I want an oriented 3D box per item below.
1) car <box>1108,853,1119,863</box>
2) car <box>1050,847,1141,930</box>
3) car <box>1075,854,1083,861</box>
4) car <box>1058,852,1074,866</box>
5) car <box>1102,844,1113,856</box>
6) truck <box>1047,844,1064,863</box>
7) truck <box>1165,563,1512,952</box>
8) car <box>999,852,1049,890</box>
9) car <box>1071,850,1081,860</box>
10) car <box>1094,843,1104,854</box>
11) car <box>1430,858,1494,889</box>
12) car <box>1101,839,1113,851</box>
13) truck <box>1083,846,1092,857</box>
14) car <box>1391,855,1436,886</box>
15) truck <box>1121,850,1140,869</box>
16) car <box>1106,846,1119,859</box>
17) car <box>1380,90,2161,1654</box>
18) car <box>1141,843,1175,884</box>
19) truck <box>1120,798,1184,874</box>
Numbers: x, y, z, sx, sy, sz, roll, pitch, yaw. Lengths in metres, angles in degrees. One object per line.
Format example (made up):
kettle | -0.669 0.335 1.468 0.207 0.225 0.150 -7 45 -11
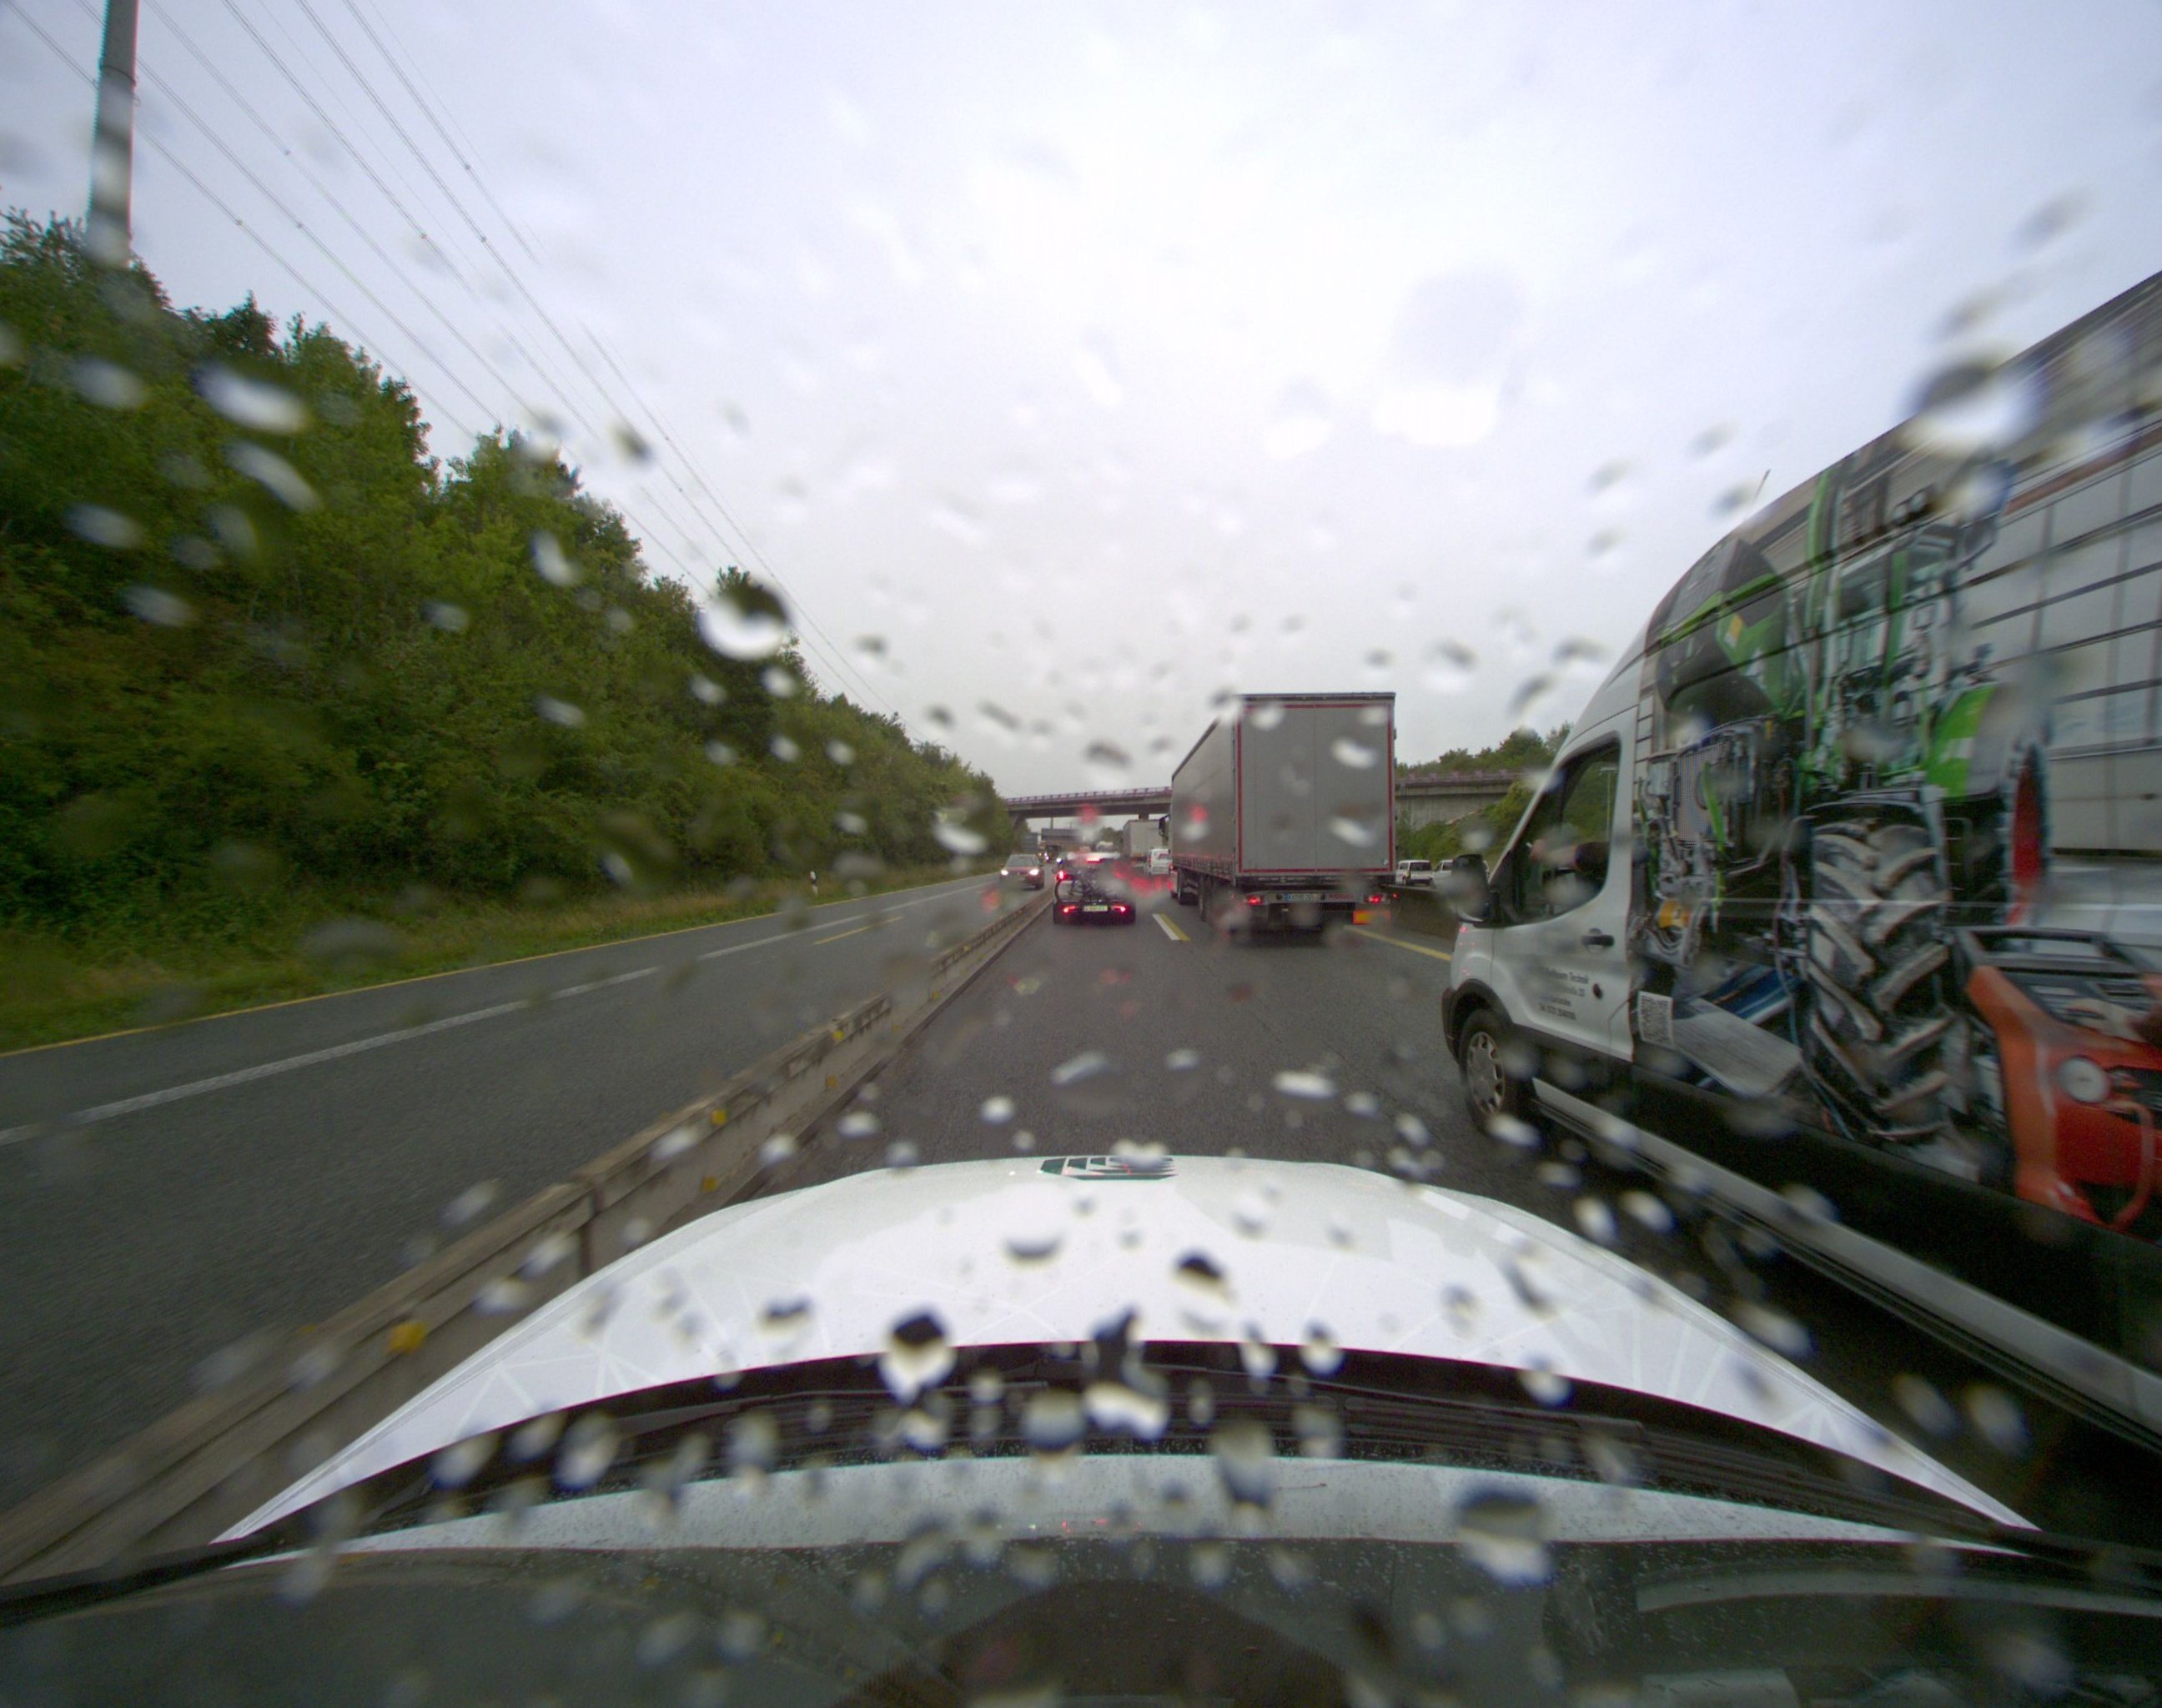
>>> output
car | 4.716 0.578 118.707 1.632 1.497 3.667 -1 0 2
car | 0.413 0.695 18.553 1.802 1.637 4.639 -1 0 3
car | -0.368 0.826 175.389 1.680 1.409 3.929 -1 0 0
car | -1.825 0.637 98.434 1.804 1.633 4.118 -1 0 1
car | 4.733 -0.746 146.032 1.986 2.014 4.002 -1 0 2
truck | -4.661 -0.080 149.096 2.526 3.352 12.051 -1 0 1
truck | 4.823 -1.348 22.160 3.963 5.673 20.391 -1 0 3
car | -2.459 0.714 35.908 1.788 1.555 4.002 -1 0 2
car | -0.851 0.252 147.775 1.804 1.824 4.635 -1 0 0
car | 3.879 -1.181 171.741 1.986 2.126 4.528 -1 0 2
car | 23.278 1.159 49.973 1.934 1.829 4.732 -1 0 4
car | 5.096 -1.794 158.891 2.231 2.307 4.574 -1 0 2
truck | 1.949 -0.741 245.994 2.526 3.352 12.051 -1 0 1
car | 23.429 1.127 57.555 1.721 2.058 4.128 -1 0 4
truck | 5.395 0.563 89.296 1.986 2.014 4.001 -1 0 2
car | 5.110 -0.267 132.954 1.986 2.014 4.002 -1 0 2
car | 2.978 0.037 2.502 2.135 2.676 6.122 -1 0 3
car | 4.290 0.533 45.756 1.663 2.180 4.538 -1 0 3
truck | 5.872 -1.304 71.473 4.723 5.673 20.391 -1 0 3
